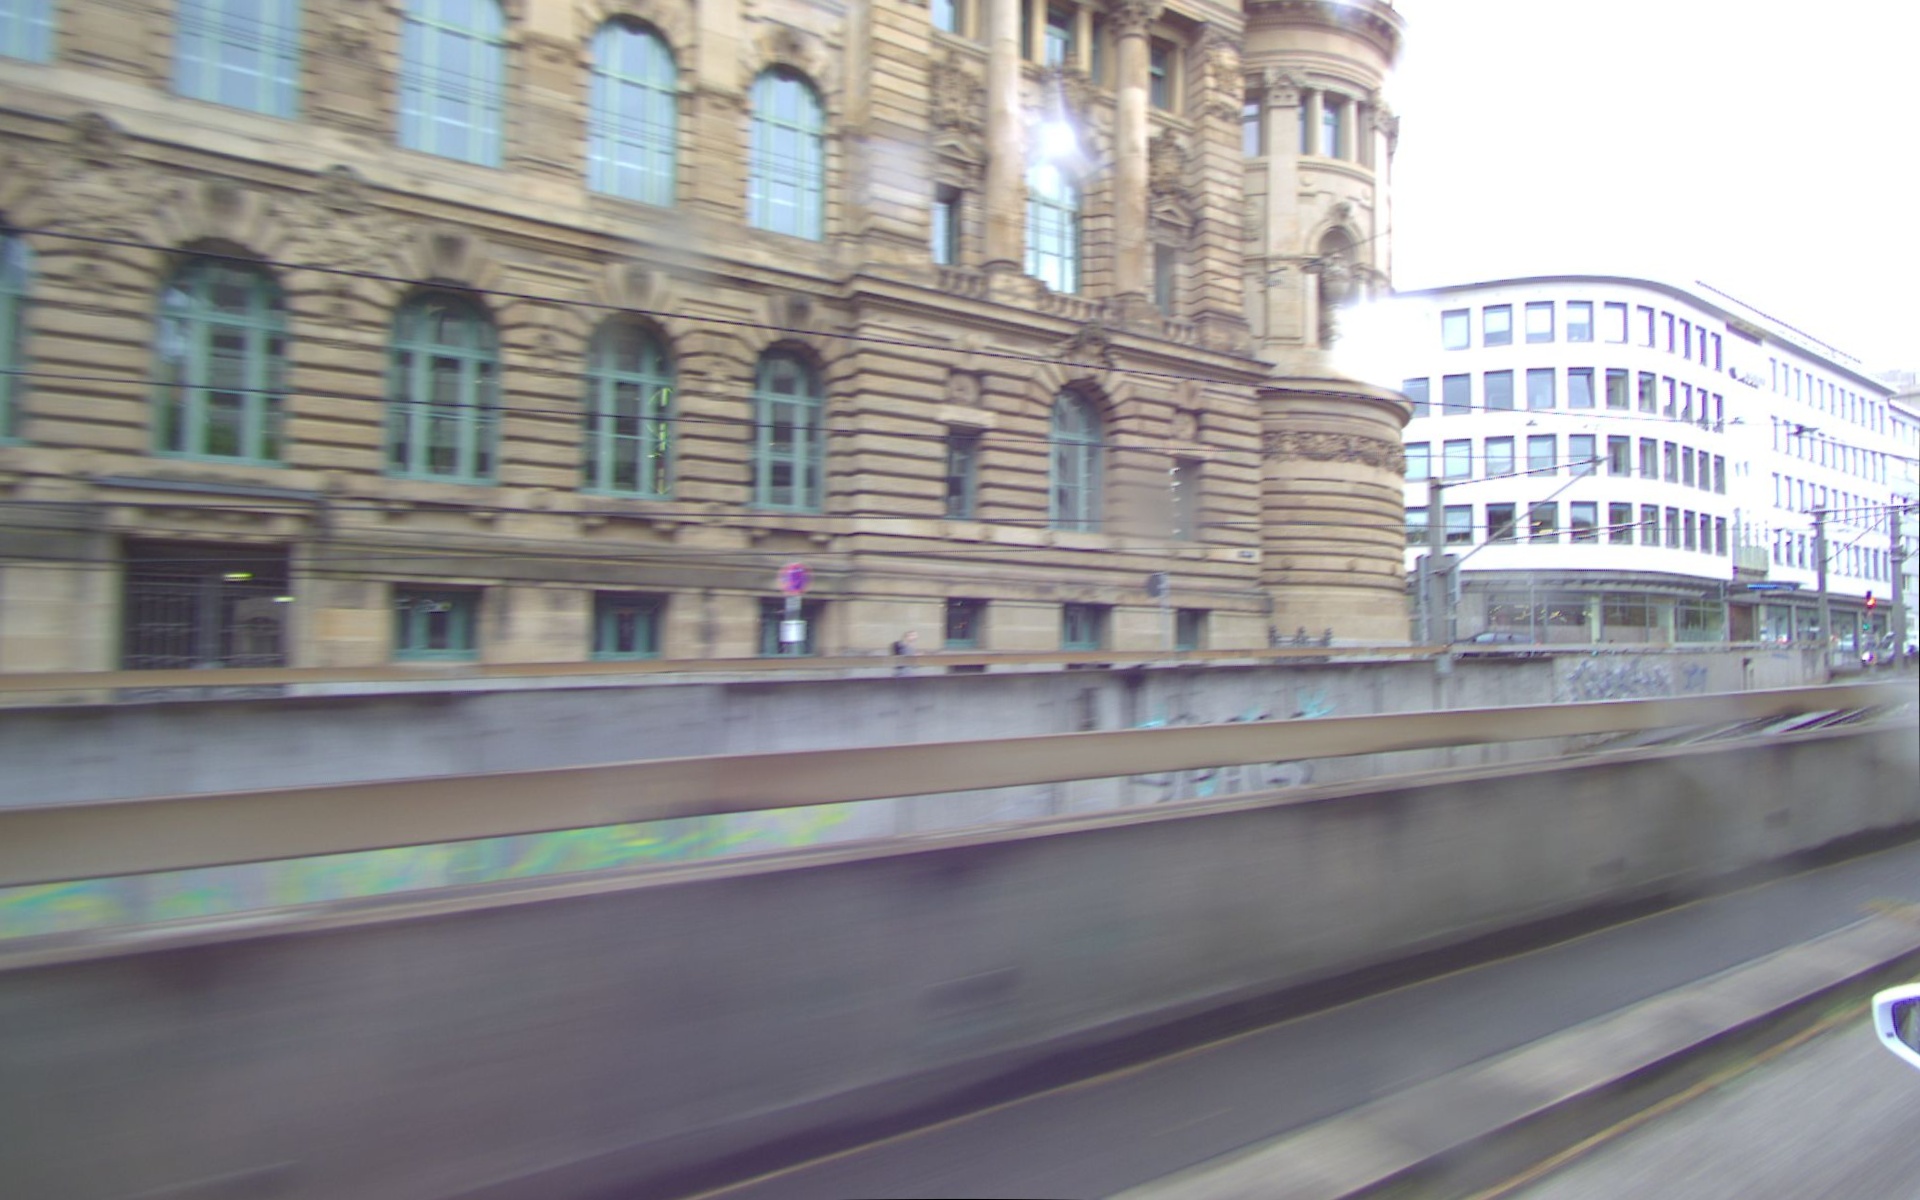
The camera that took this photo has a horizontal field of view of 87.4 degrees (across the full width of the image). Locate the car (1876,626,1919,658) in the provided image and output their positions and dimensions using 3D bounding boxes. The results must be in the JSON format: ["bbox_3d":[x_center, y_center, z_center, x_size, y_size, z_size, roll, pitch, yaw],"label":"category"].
[{"bbox_3d":[57.782,2.524,61.145,4.877,1.907,1.981,1,-2,-35],"label":"car"}]

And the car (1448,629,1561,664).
[{"bbox_3d":[26.893,2.339,49.794,4.687,1.541,1.676,-3,-4,20],"label":"car"}]

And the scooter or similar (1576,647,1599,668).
[{"bbox_3d":[31.374,2.872,50.231,0.539,1.058,0.820,0,-2,-19],"label":"scooter or similar"}]

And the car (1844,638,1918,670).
[{"bbox_3d":[46.034,2.661,50.175,3.626,1.548,1.981,1,-2,-35],"label":"car"}]
